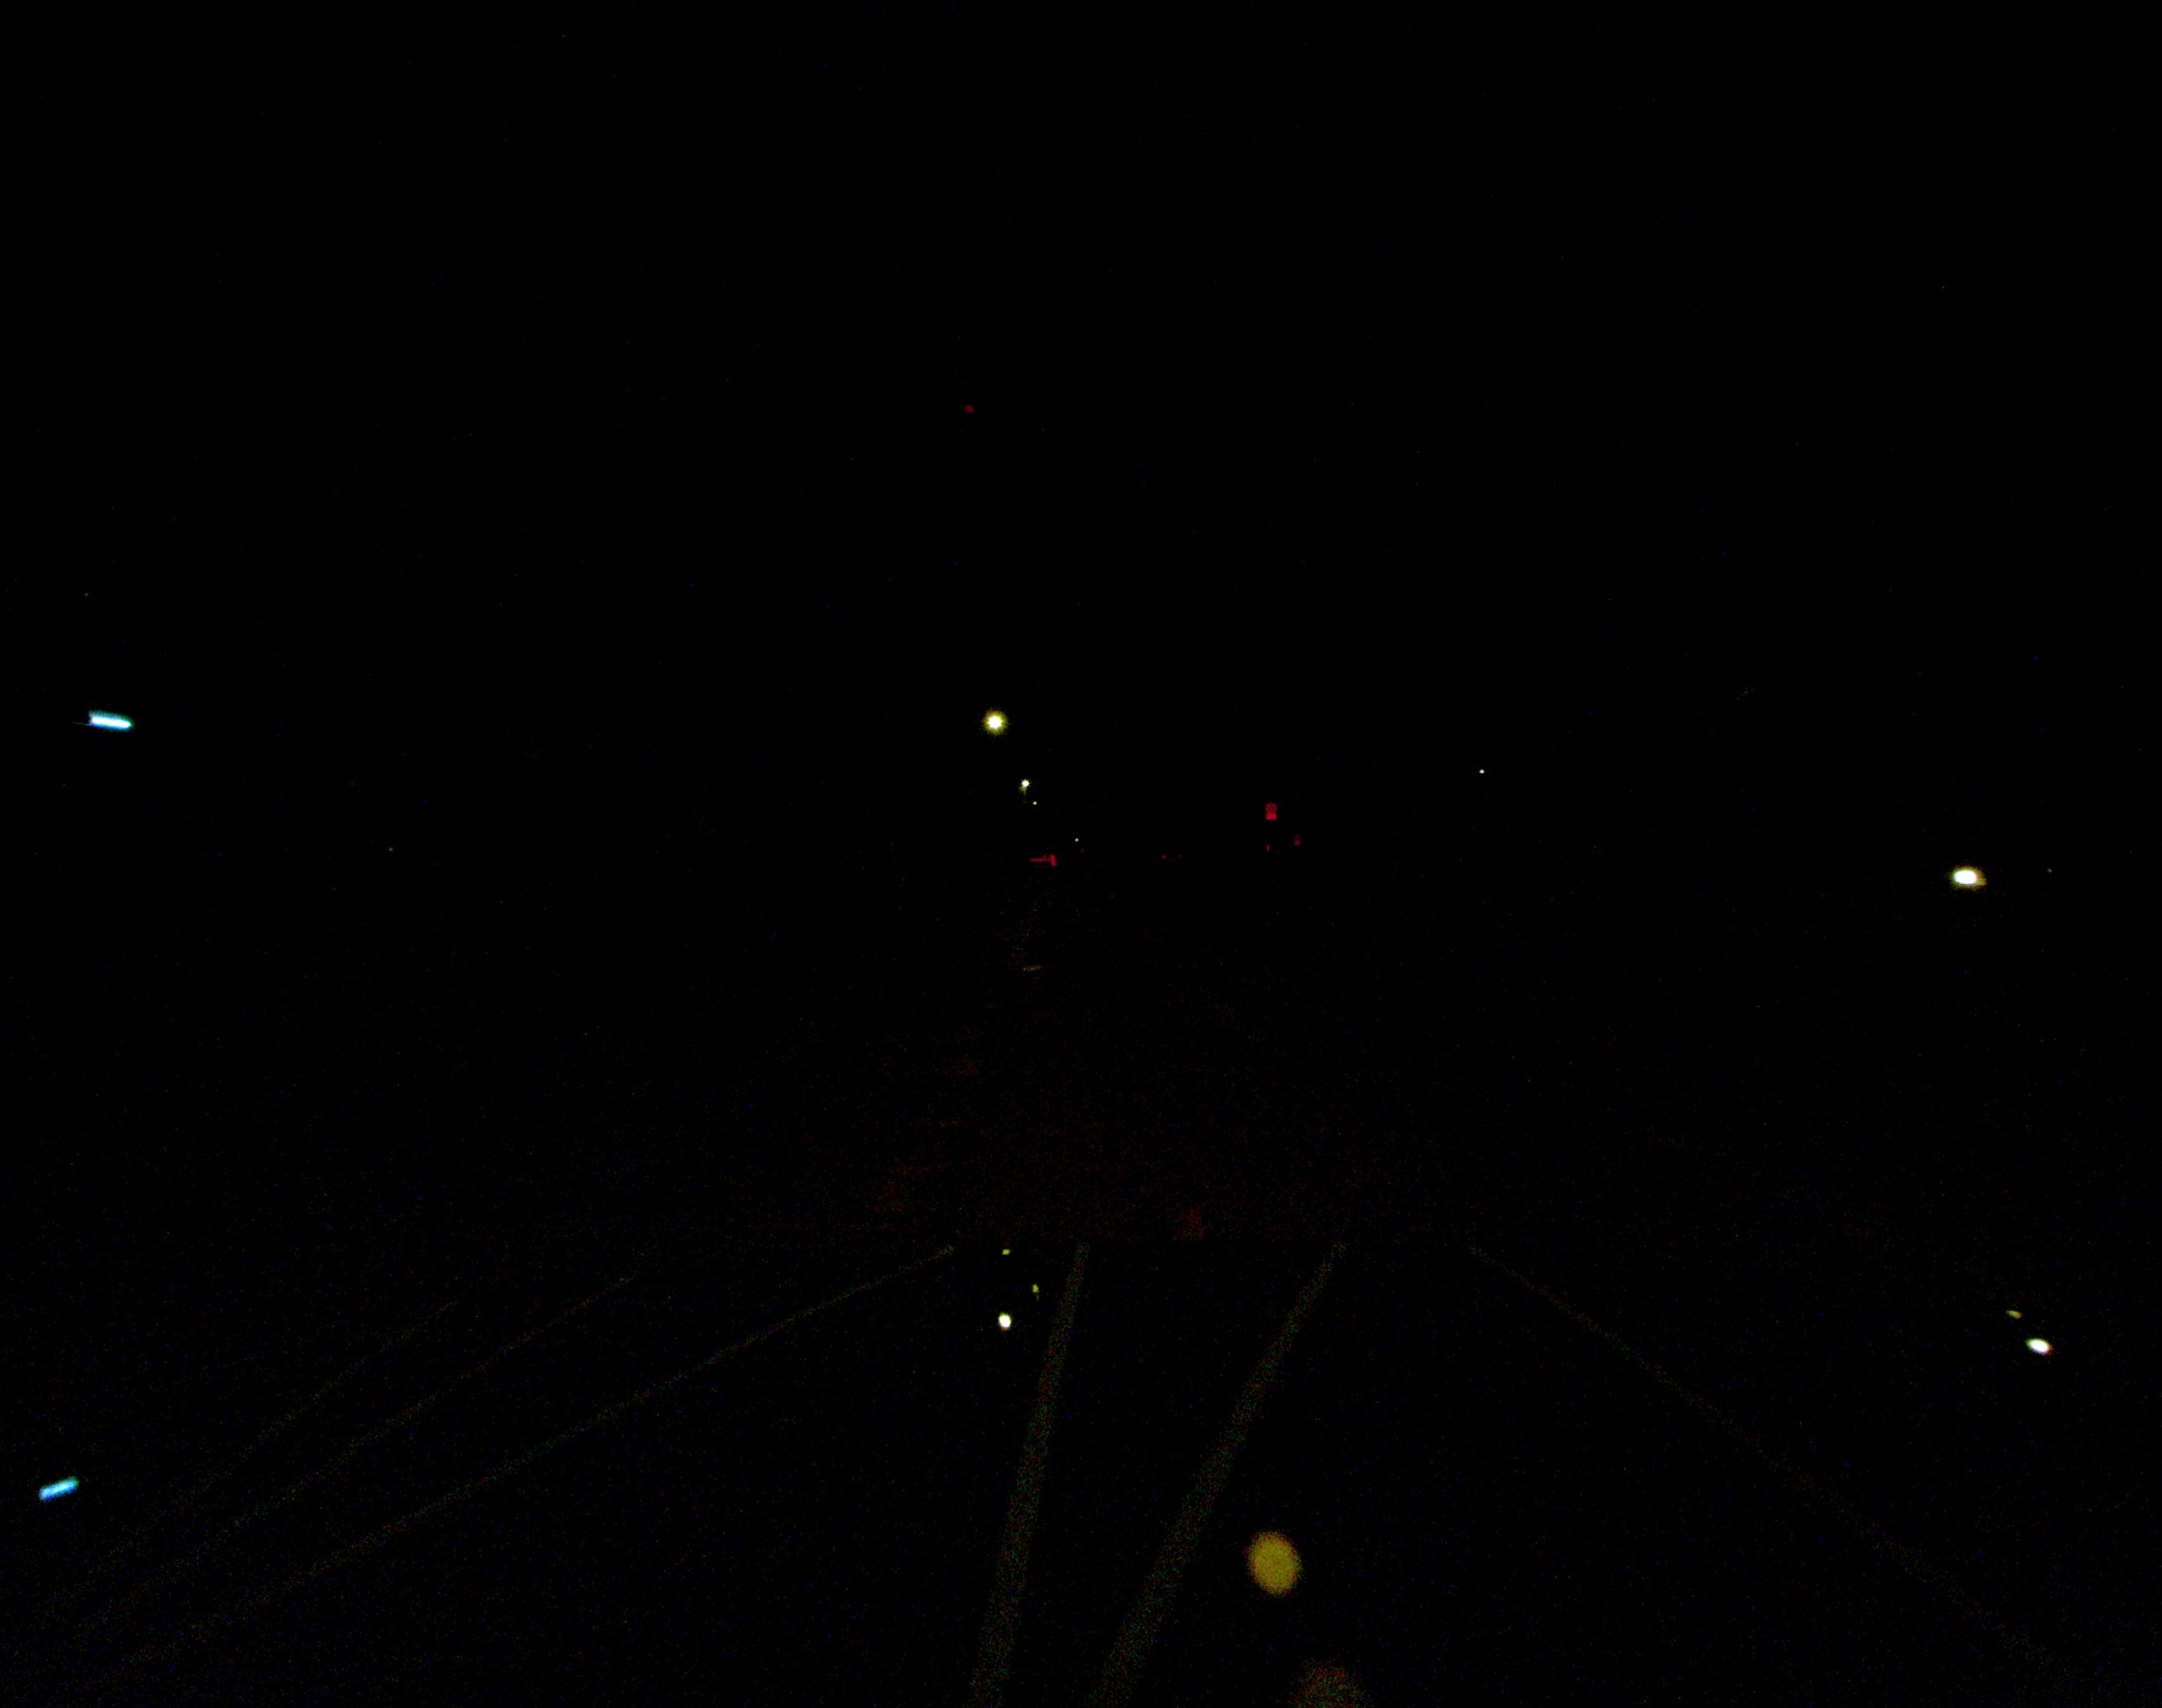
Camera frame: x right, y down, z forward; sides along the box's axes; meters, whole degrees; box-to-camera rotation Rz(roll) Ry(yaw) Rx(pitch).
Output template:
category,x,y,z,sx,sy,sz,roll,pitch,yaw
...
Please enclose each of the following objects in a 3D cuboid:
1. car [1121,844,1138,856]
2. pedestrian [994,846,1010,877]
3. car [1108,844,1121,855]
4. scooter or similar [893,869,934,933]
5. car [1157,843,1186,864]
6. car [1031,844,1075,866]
category,x,y,z,sx,sy,sz,roll,pitch,yaw
car,6.386,-0.520,100.438,1.911,1.445,3.999,-3,2,1
pedestrian,-4.802,0.456,46.202,0.824,1.809,0.608,-3,2,1
car,5.154,-0.751,117.800,1.911,1.445,3.999,-3,2,1
scooter or similar,-3.575,0.977,16.298,0.570,1.271,1.391,0,0,0
car,7.227,-0.039,60.983,1.911,1.445,3.999,-3,2,1
car,-2.579,0.085,70.741,3.997,1.821,1.912,-3,2,0
